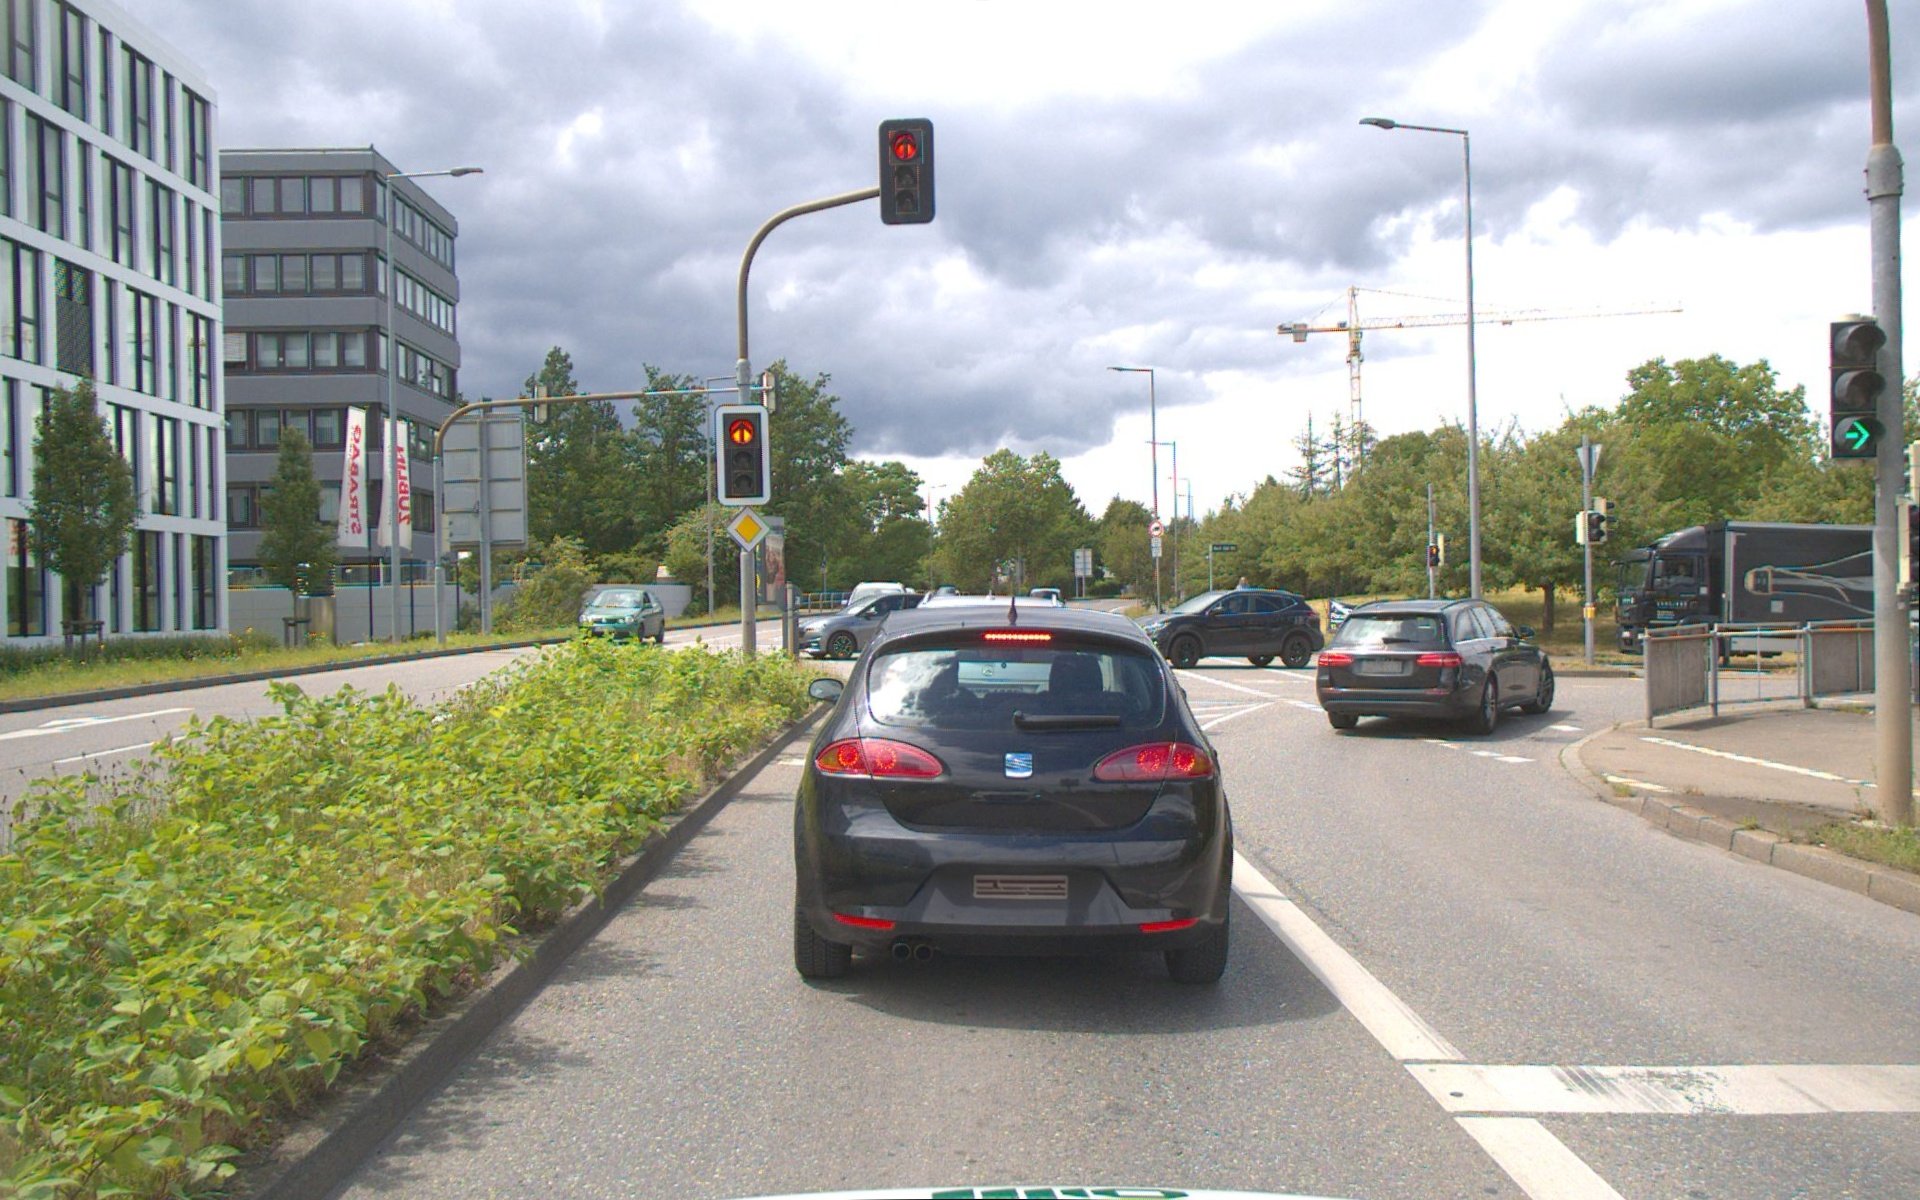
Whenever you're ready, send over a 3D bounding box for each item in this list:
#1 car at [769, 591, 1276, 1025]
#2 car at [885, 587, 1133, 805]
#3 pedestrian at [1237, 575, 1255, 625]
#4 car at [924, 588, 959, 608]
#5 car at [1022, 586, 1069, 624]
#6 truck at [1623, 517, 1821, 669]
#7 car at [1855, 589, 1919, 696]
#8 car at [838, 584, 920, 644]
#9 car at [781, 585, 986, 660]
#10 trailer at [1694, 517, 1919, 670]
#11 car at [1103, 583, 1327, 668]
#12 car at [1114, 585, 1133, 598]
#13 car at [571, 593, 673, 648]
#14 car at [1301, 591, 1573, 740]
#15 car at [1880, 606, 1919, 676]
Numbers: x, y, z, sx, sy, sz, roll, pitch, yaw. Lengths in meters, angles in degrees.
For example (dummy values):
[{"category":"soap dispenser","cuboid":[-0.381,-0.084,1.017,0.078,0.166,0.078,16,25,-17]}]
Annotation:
[{"category":"car","cuboid":[0.192,0.710,7.485,1.737,1.477,3.581,0,0,-1]},{"category":"car","cuboid":[0.278,0.673,13.663,1.738,1.517,3.580,-1,0,-3]},{"category":"pedestrian","cuboid":[10.251,-0.002,59.268,0.547,1.756,0.588,0,0,0]},{"category":"car","cuboid":[-1.328,-0.149,119.193,1.951,1.375,4.003,0,0,7]},{"category":"car","cuboid":[3.634,0.199,71.122,1.952,1.557,4.001,0,0,2]},{"category":"truck","cuboid":[18.188,-0.180,39.642,3.902,3.530,2.002,0,0,7]},{"category":"car","cuboid":[16.171,0.572,24.991,4.346,1.545,1.867,-1,0,-6]},{"category":"car","cuboid":[-2.258,0.376,47.068,1.952,1.624,4.001,0,0,2]},{"category":"car","cuboid":[-1.747,0.483,37.385,4.241,1.552,1.988,-1,0,-20]},{"category":"trailer","cuboid":[21.624,-0.162,39.235,7.423,3.519,2.002,0,0,7]},{"category":"car","cuboid":[5.350,0.511,34.896,4.235,1.644,1.991,-1,0,-17]},{"category":"car","cuboid":[18.078,-0.949,182.834,1.951,1.375,4.003,0,0,7]},{"category":"car","cuboid":[-9.005,0.514,44.342,1.953,1.375,3.999,0,0,-1]},{"category":"car","cuboid":[5.862,0.680,19.826,1.838,1.466,5.188,-1,0,31]},{"category":"car","cuboid":[22.308,0.870,35.601,3.902,1.445,2.002,0,0,7]}]
